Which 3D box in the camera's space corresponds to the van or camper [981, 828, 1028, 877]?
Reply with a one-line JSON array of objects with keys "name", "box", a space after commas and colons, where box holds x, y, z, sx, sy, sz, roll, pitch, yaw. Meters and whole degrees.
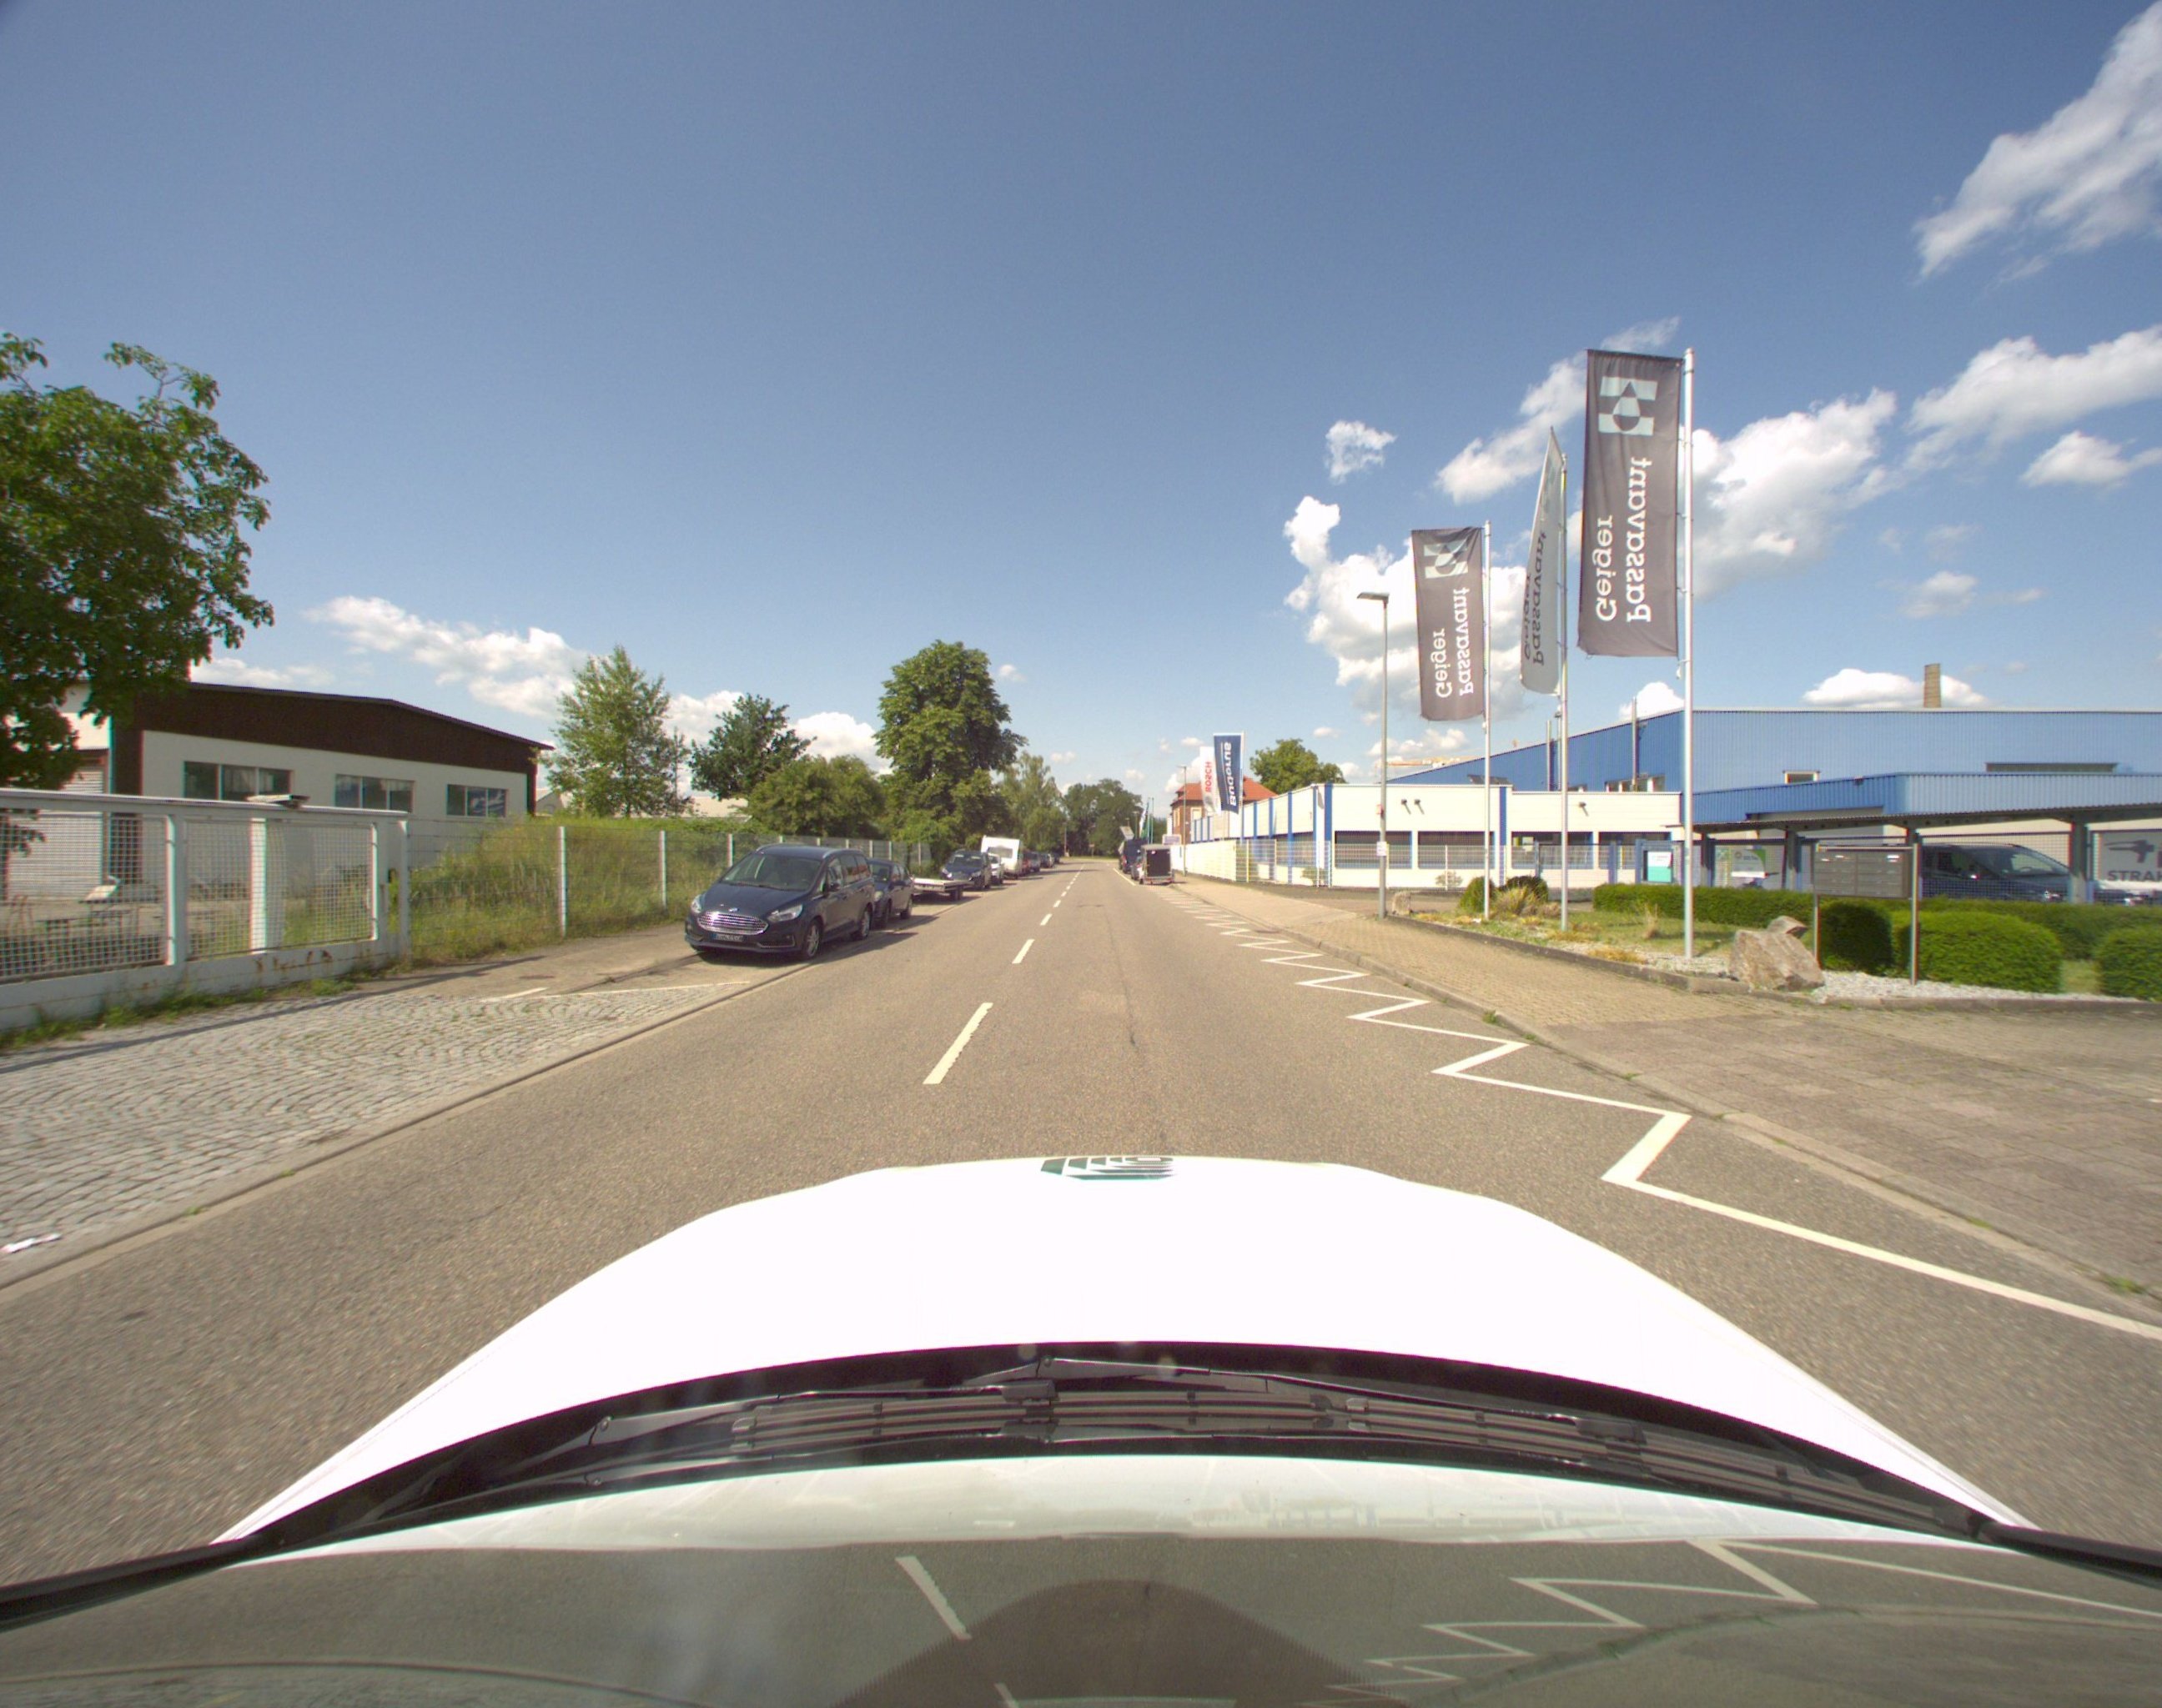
[{"name": "van or camper", "box": [-4.822, -0.089, 52.352, 2.256, 2.803, 6.831, 4, 0, -1]}]

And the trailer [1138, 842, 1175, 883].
[{"name": "trailer", "box": [3.834, 0.426, 41.625, 1.596, 2.037, 2.741, 1, 0, 0]}]

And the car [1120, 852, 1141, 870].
[{"name": "car", "box": [4.674, 0.661, 77.603, 1.818, 1.664, 4.557, 0, 0, 1]}]

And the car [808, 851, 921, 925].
[{"name": "car", "box": [-4.936, 0.722, 19.150, 1.572, 1.512, 4.199, 1, 0, -1]}]

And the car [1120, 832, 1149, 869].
[{"name": "car", "box": [4.261, -0.277, 65.248, 1.931, 2.748, 6.154, 1, 0, 1]}]

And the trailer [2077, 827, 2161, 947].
[{"name": "trailer", "box": [18.895, 0.571, 12.091, 1.681, 1.985, 5.274, 1, 0, -2]}]

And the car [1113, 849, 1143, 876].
[{"name": "car", "box": [2.710, 0.484, 47.934, 1.567, 1.507, 4.132, 1, 0, 0]}]

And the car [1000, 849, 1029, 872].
[{"name": "car", "box": [-4.803, 0.481, 59.172, 1.619, 1.532, 4.269, 4, 0, 1]}]

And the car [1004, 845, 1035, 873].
[{"name": "car", "box": [-4.859, 0.422, 64.995, 1.892, 1.954, 4.958, 6, 0, 1]}]

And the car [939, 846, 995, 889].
[{"name": "car", "box": [-5.101, 0.583, 36.985, 1.821, 1.793, 4.735, 0, 0, 0]}]

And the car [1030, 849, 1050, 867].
[{"name": "car", "box": [-4.263, 0.379, 86.004, 1.604, 1.745, 4.639, 2, 0, 2]}]

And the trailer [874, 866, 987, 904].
[{"name": "trailer", "box": [-4.986, 1.004, 28.329, 2.262, 0.883, 7.135, 5, 0, 2]}]

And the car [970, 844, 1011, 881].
[{"name": "car", "box": [-4.755, 0.438, 43.257, 1.679, 1.692, 4.441, 5, 0, -2]}]

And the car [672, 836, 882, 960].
[{"name": "car", "box": [-4.906, 0.634, 13.973, 1.795, 1.750, 4.713, 0, 0, 0]}]
